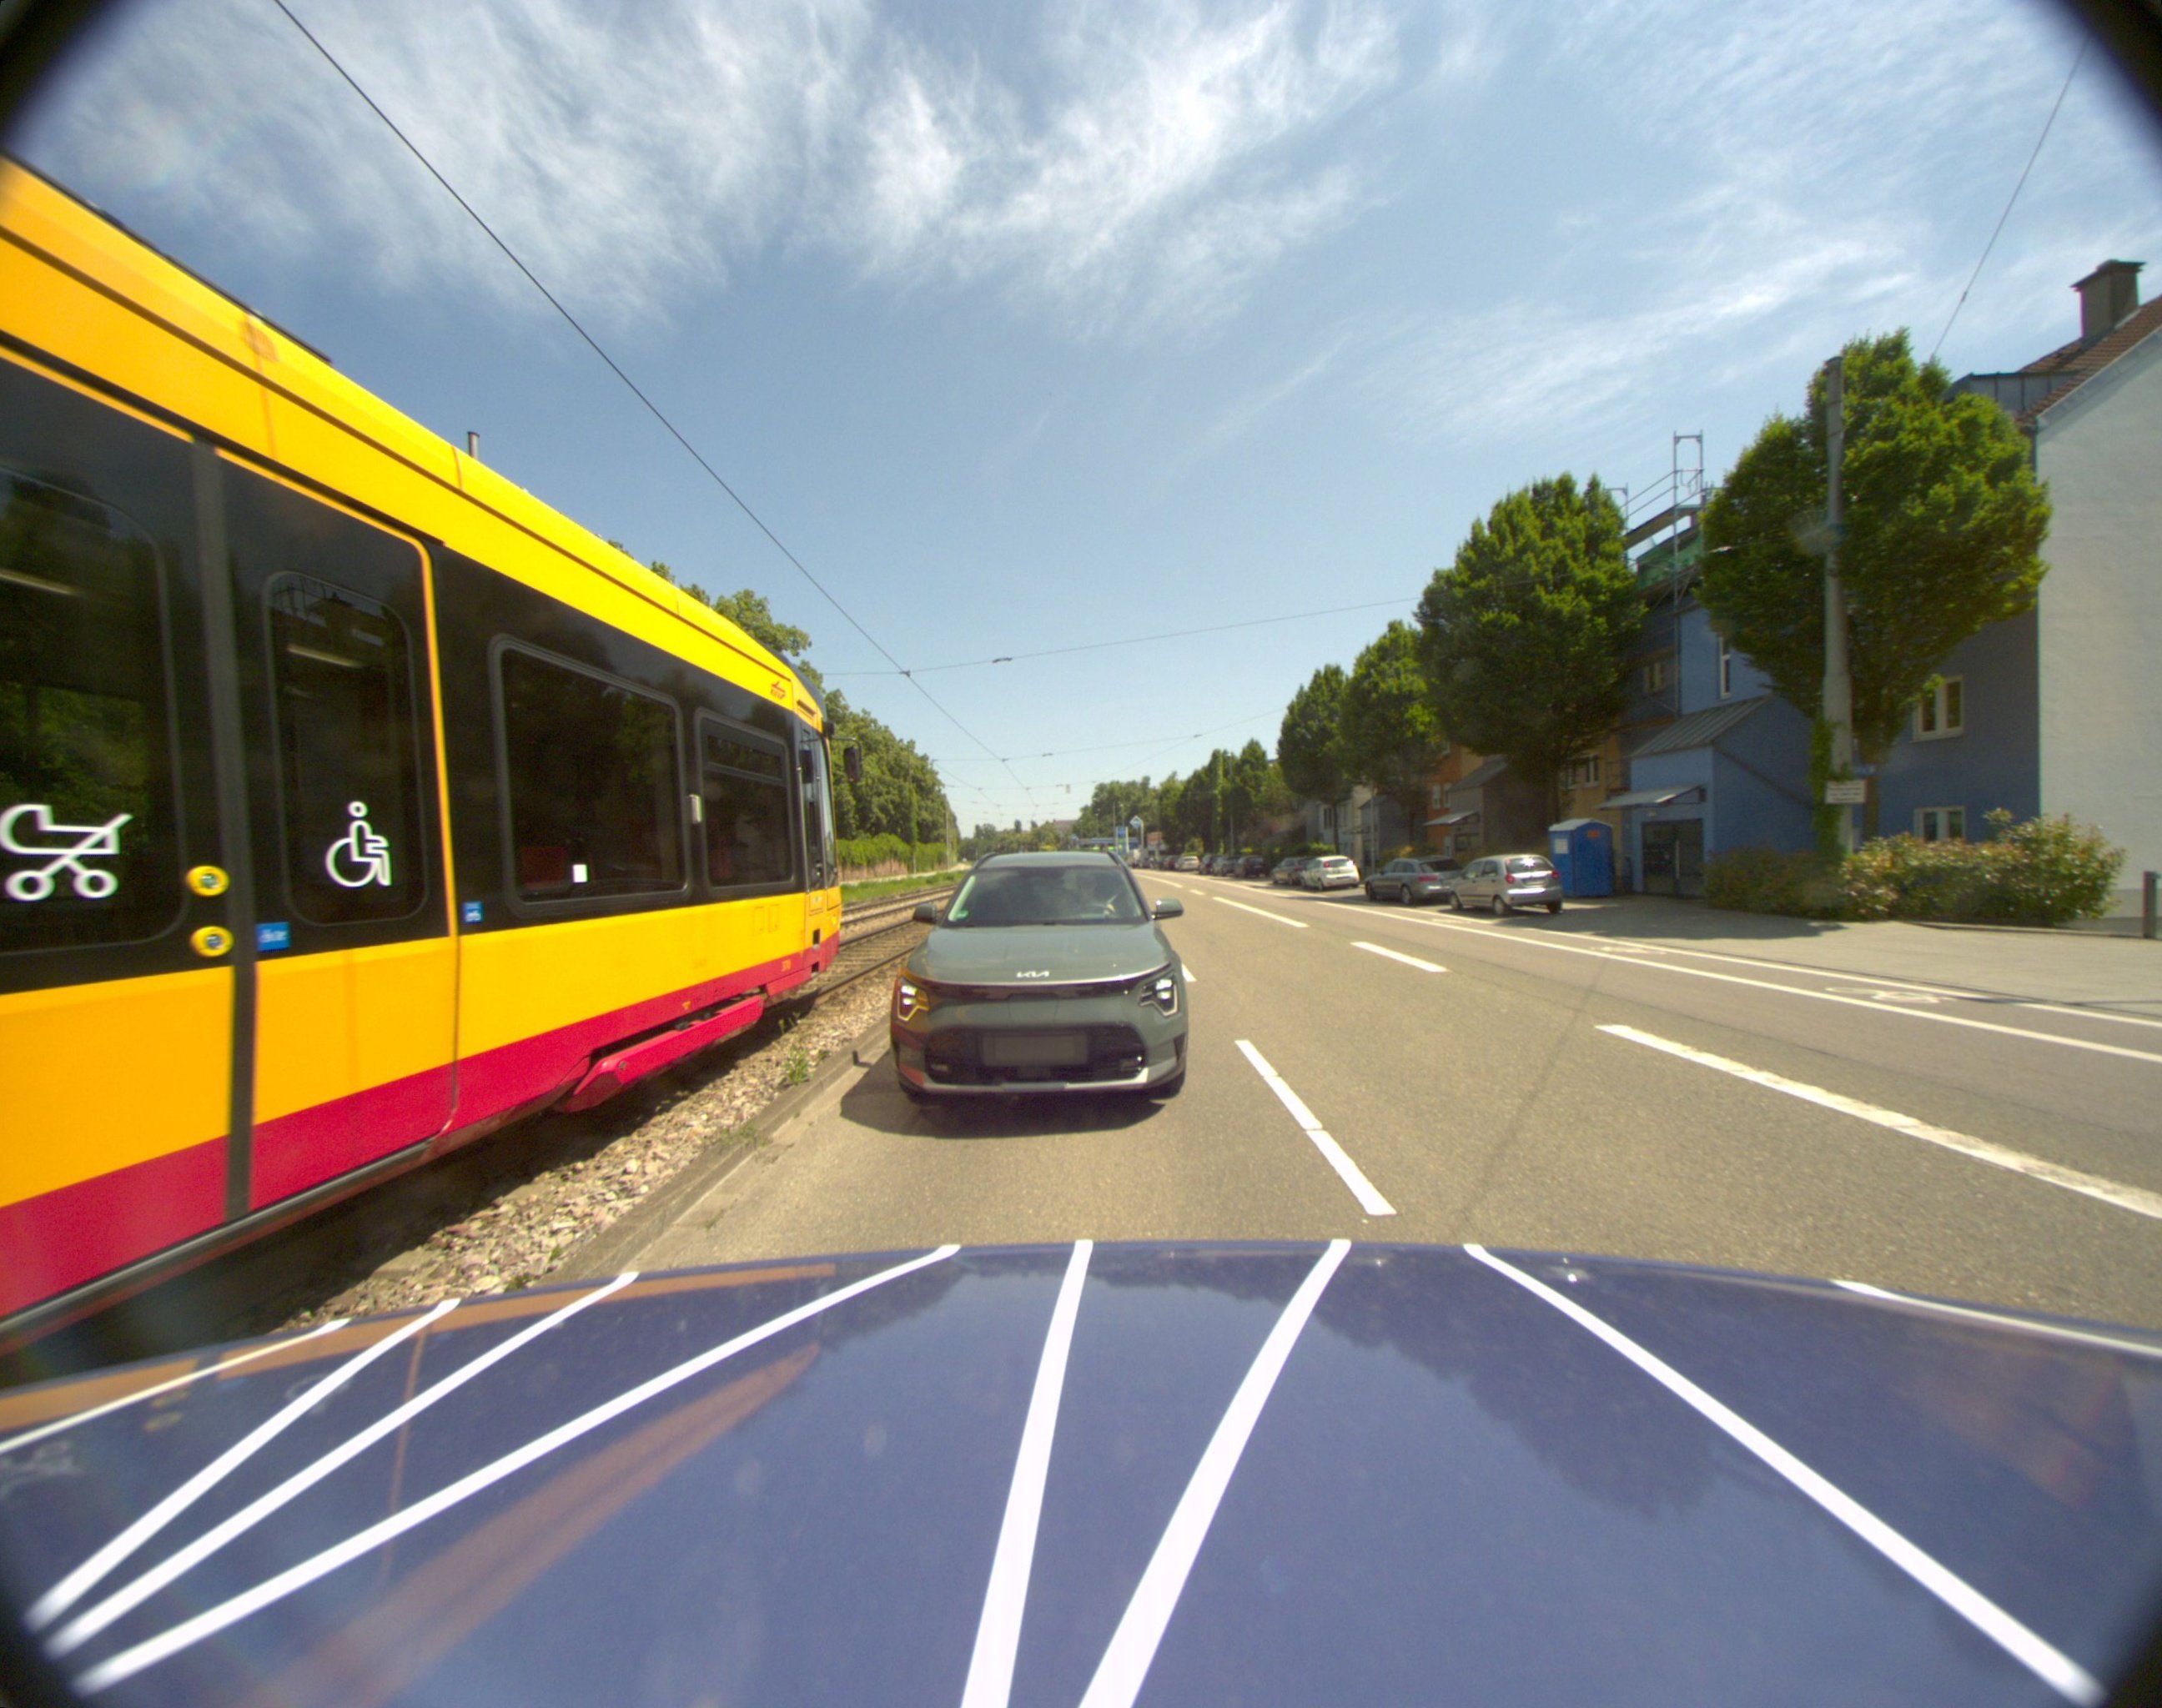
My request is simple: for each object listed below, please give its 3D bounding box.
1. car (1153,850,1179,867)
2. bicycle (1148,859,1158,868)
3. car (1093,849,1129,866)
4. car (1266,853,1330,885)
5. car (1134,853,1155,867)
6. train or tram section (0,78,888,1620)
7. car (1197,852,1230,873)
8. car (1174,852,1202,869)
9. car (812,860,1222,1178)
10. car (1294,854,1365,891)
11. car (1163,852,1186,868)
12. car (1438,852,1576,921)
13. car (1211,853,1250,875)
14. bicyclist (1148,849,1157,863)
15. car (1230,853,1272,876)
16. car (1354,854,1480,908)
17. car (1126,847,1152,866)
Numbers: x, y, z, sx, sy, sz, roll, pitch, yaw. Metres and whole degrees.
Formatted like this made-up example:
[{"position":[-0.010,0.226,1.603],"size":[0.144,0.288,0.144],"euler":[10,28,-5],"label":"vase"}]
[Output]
[{"position":[9.497,0.488,85.207],"size":[1.999,1.783,4.556],"euler":[-2,0,-5],"label":"car"},{"position":[7.570,0.990,79.869],"size":[0.703,0.945,2.243],"euler":[1,-1,-2],"label":"bicycle"},{"position":[4.863,0.567,122.034],"size":[5.217,2.294,2.289],"euler":[-3,0,26],"label":"car"},{"position":[11.487,0.754,40.509],"size":[1.708,1.421,4.750],"euler":[-6,0,-3],"label":"car"},{"position":[7.871,0.758,94.112],"size":[1.870,1.528,4.142],"euler":[-3,0,-4],"label":"car"},{"position":[-3.868,-0.005,2.378],"size":[2.747,3.588,12.870],"euler":[-3,0,1],"label":"train or tram section"},{"position":[10.920,0.666,62.786],"size":[1.772,1.579,4.147],"euler":[-3,0,-3],"label":"car"},{"position":[10.438,0.633,74.107],"size":[1.845,1.573,4.495],"euler":[-3,0,-2],"label":"car"},{"position":[-0.237,0.887,5.956],"size":[2.062,1.534,4.001],"euler":[-3,0,3],"label":"car"},{"position":[11.386,0.817,35.167],"size":[1.750,1.434,4.420],"euler":[-6,0,0],"label":"car"},{"position":[9.828,0.662,79.999],"size":[1.604,1.584,3.680],"euler":[-3,0,-6],"label":"car"},{"position":[11.038,0.779,19.968],"size":[1.597,1.487,3.448],"euler":[-6,0,1],"label":"car"},{"position":[11.180,0.698,56.965],"size":[1.830,1.487,4.756],"euler":[-3,0,-1],"label":"car"},{"position":[7.537,0.225,79.701],"size":[0.737,1.422,1.124],"euler":[2,1,-2],"label":"bicyclist"},{"position":[11.511,0.696,51.676],"size":[1.754,1.424,4.257],"euler":[-4,0,0],"label":"car"},{"position":[10.972,0.836,25.306],"size":[1.791,1.441,5.133],"euler":[-5,-1,0],"label":"car"},{"position":[7.642,0.340,100.139],"size":[2.285,2.294,5.226],"euler":[-3,0,-8],"label":"car"}]
